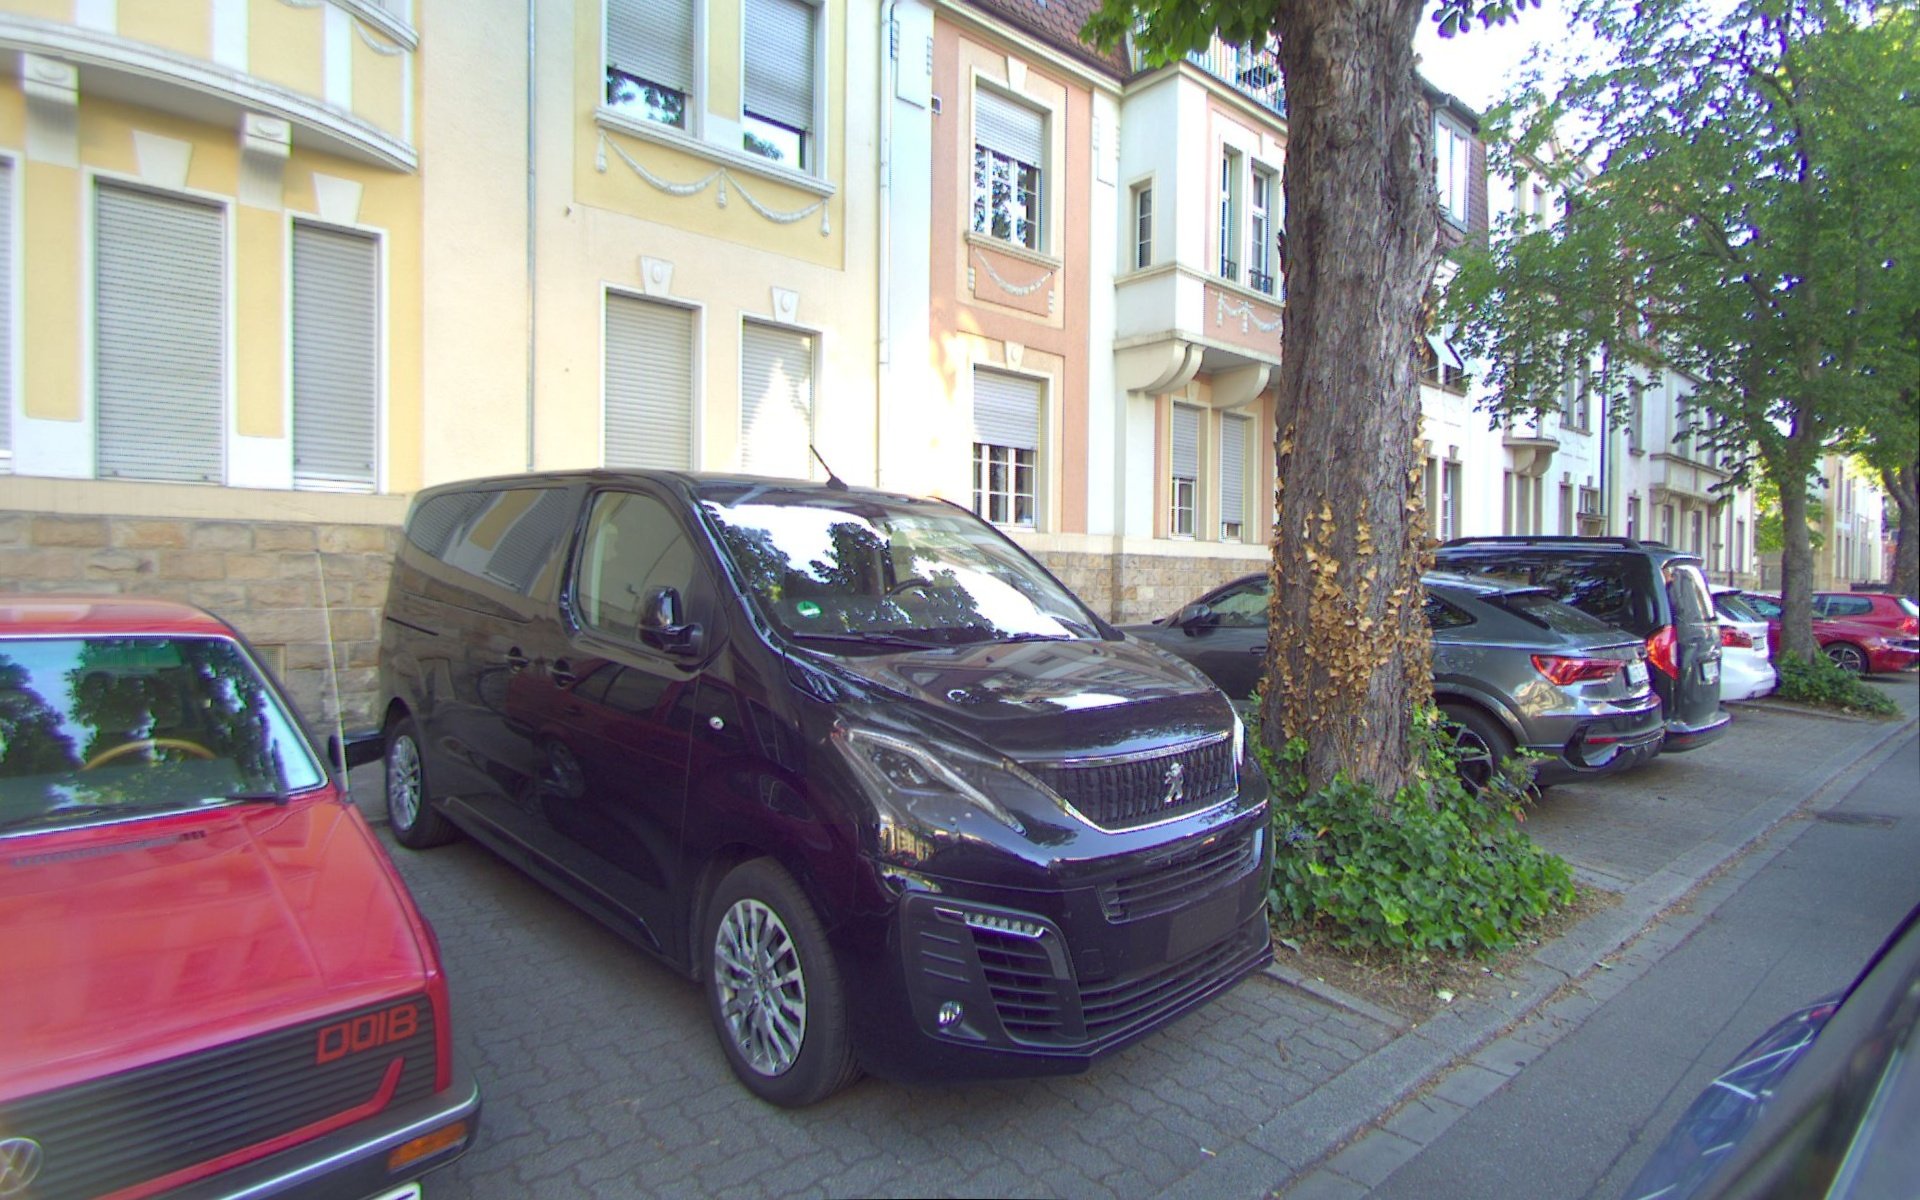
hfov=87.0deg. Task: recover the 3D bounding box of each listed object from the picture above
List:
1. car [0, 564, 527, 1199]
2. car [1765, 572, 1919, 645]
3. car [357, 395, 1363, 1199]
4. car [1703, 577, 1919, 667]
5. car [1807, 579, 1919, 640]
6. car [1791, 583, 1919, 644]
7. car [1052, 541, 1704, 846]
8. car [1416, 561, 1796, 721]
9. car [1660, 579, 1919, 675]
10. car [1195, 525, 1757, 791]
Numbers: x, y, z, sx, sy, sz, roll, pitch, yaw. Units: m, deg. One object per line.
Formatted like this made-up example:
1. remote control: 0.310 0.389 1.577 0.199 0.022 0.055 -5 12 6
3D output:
1. car: -2.769 0.615 2.989 1.532 1.336 3.917 -1 4 -43
2. car: 21.623 0.183 24.083 1.511 1.584 3.621 0 2 -40
3. car: -0.991 0.347 4.524 1.851 1.846 4.825 -1 4 -44
4. car: 16.864 0.371 19.662 1.511 1.482 3.621 0 3 -40
5. car: 25.945 0.254 27.990 1.511 1.584 3.621 0 2 -40
6. car: 23.975 0.336 26.150 1.511 1.420 3.621 0 3 -40
7. car: 2.793 0.404 7.503 1.569 1.611 4.165 -1 4 -44
8. car: 7.718 0.367 12.312 1.513 1.569 3.616 -1 3 -45
9. car: 14.915 0.400 18.115 1.511 1.420 3.621 0 3 -40
10. car: 4.345 0.279 9.046 1.569 1.849 4.165 -1 4 -44
